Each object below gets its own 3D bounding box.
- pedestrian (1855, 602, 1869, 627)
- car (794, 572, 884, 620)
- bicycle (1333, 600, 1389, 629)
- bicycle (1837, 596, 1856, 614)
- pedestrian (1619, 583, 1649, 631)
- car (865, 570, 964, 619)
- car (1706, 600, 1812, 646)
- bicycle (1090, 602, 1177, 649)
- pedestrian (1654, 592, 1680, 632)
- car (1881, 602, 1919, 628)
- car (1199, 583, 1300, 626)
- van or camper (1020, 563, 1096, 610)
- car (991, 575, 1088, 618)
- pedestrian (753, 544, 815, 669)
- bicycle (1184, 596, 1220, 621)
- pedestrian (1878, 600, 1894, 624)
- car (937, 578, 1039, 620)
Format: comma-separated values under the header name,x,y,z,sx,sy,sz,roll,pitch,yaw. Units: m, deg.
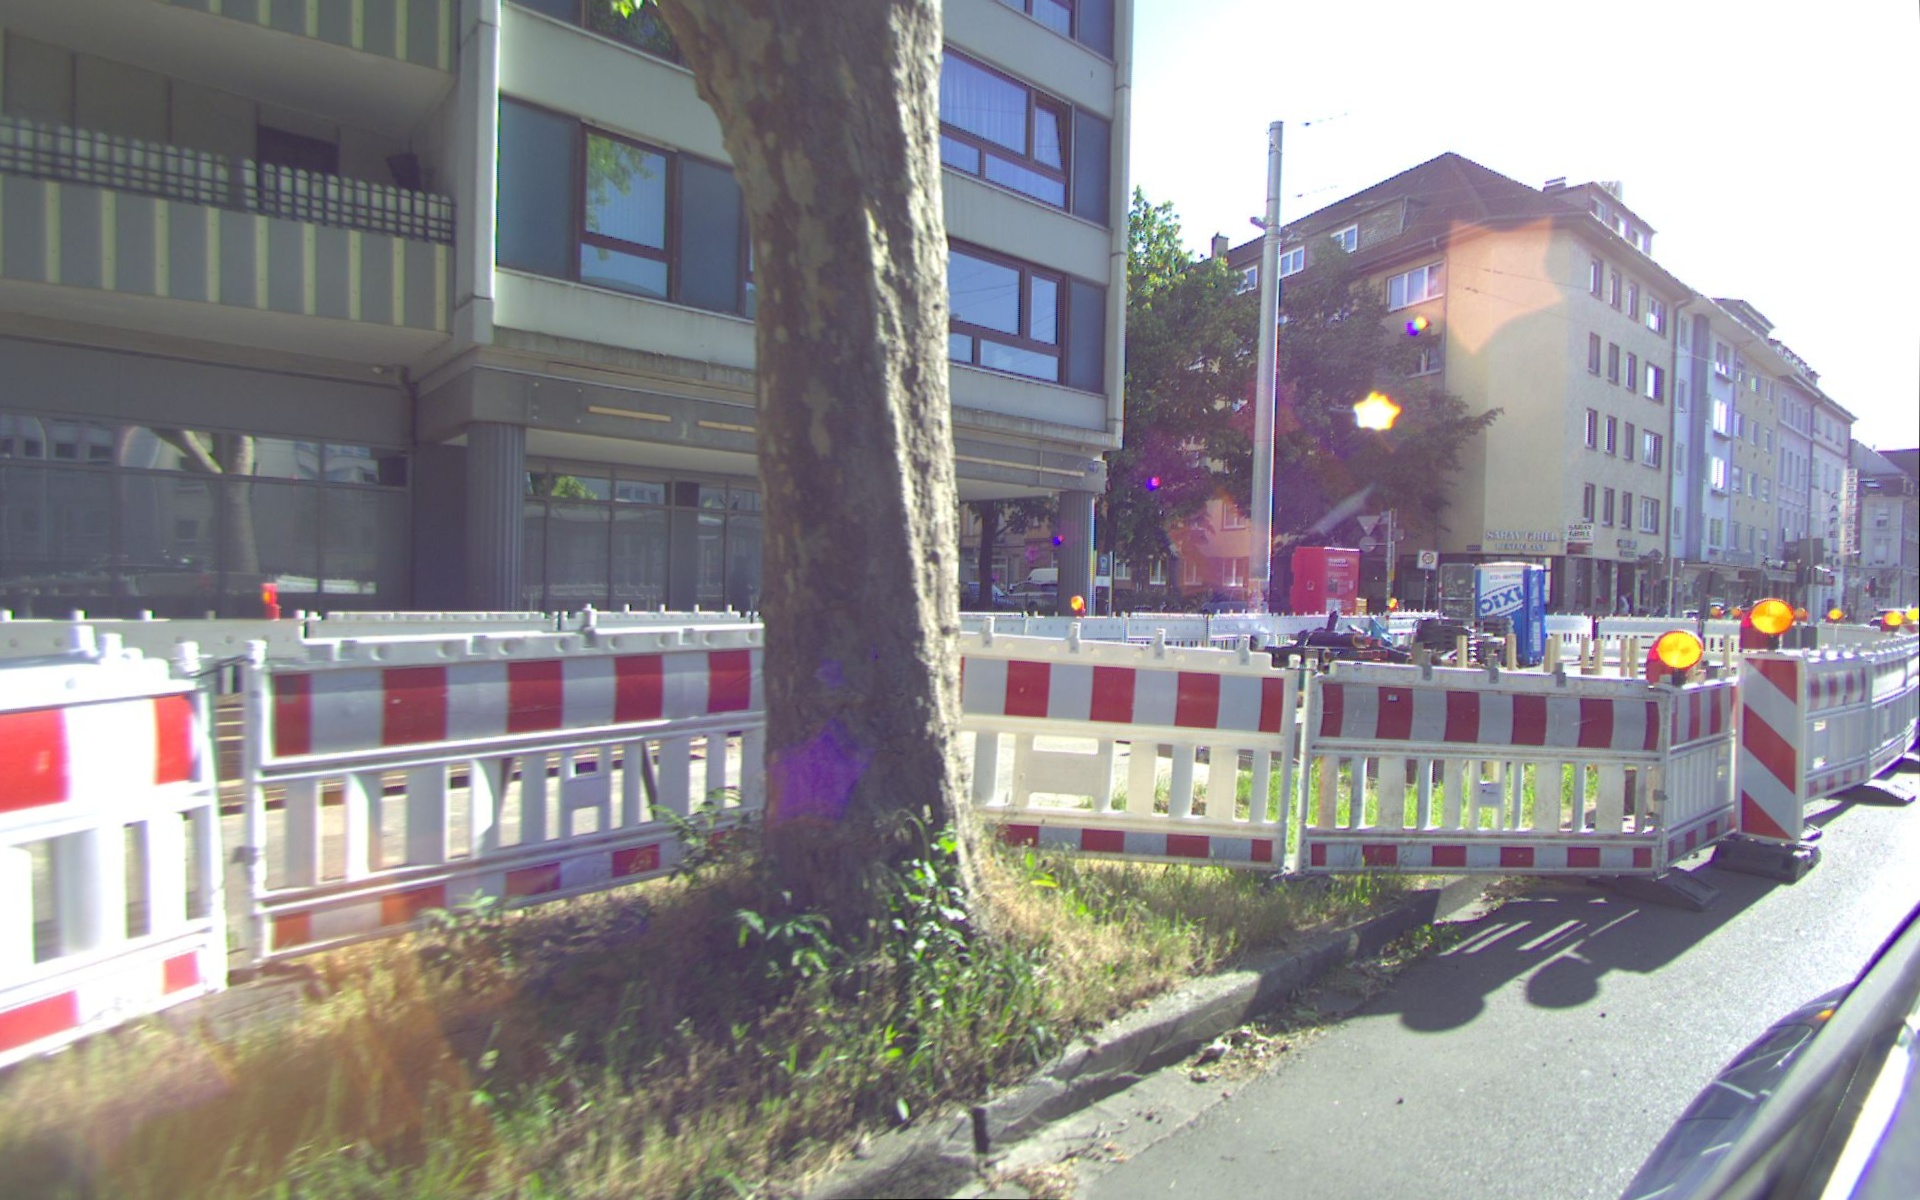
name,x,y,z,sx,sy,sz,roll,pitch,yaw
pedestrian,64.951,1.036,72.870,0.665,1.711,0.663,1,1,-41
car,-4.248,-0.185,34.927,1.802,1.542,4.505,1,1,-24
bicycle,14.710,0.527,37.096,1.904,1.017,0.370,2,0,-4
bicycle,57.194,0.318,65.314,0.692,1.122,1.842,1,1,35
pedestrian,26.928,0.271,40.423,0.884,1.877,0.730,-1,2,-38
car,-1.688,-0.227,35.921,2.110,1.625,4.241,1,1,-24
car,27.595,0.740,34.890,5.067,1.461,1.876,0,1,-40
bicycle,3.804,0.551,22.379,0.996,0.955,2.039,1,1,-21
pedestrian,27.636,0.459,39.545,0.640,1.525,0.672,1,1,-40
car,53.959,0.815,57.564,4.636,1.448,1.901,0,0,-43
car,12.195,0.150,42.917,1.958,1.662,4.257,2,1,-19
van or camper,5.569,-0.816,58.261,2.055,2.580,5.365,1,1,-23
car,2.967,-0.166,38.653,1.949,1.504,4.387,1,1,-21
pedestrian,-2.670,0.088,15.352,0.654,1.838,0.691,1,0,-41
bicycle,11.054,0.381,46.158,1.789,1.096,0.370,1,0,-28
pedestrian,65.636,0.850,71.739,0.786,1.712,0.774,4,-2,-43
car,0.956,-0.067,37.097,2.049,1.436,4.287,1,1,-24
